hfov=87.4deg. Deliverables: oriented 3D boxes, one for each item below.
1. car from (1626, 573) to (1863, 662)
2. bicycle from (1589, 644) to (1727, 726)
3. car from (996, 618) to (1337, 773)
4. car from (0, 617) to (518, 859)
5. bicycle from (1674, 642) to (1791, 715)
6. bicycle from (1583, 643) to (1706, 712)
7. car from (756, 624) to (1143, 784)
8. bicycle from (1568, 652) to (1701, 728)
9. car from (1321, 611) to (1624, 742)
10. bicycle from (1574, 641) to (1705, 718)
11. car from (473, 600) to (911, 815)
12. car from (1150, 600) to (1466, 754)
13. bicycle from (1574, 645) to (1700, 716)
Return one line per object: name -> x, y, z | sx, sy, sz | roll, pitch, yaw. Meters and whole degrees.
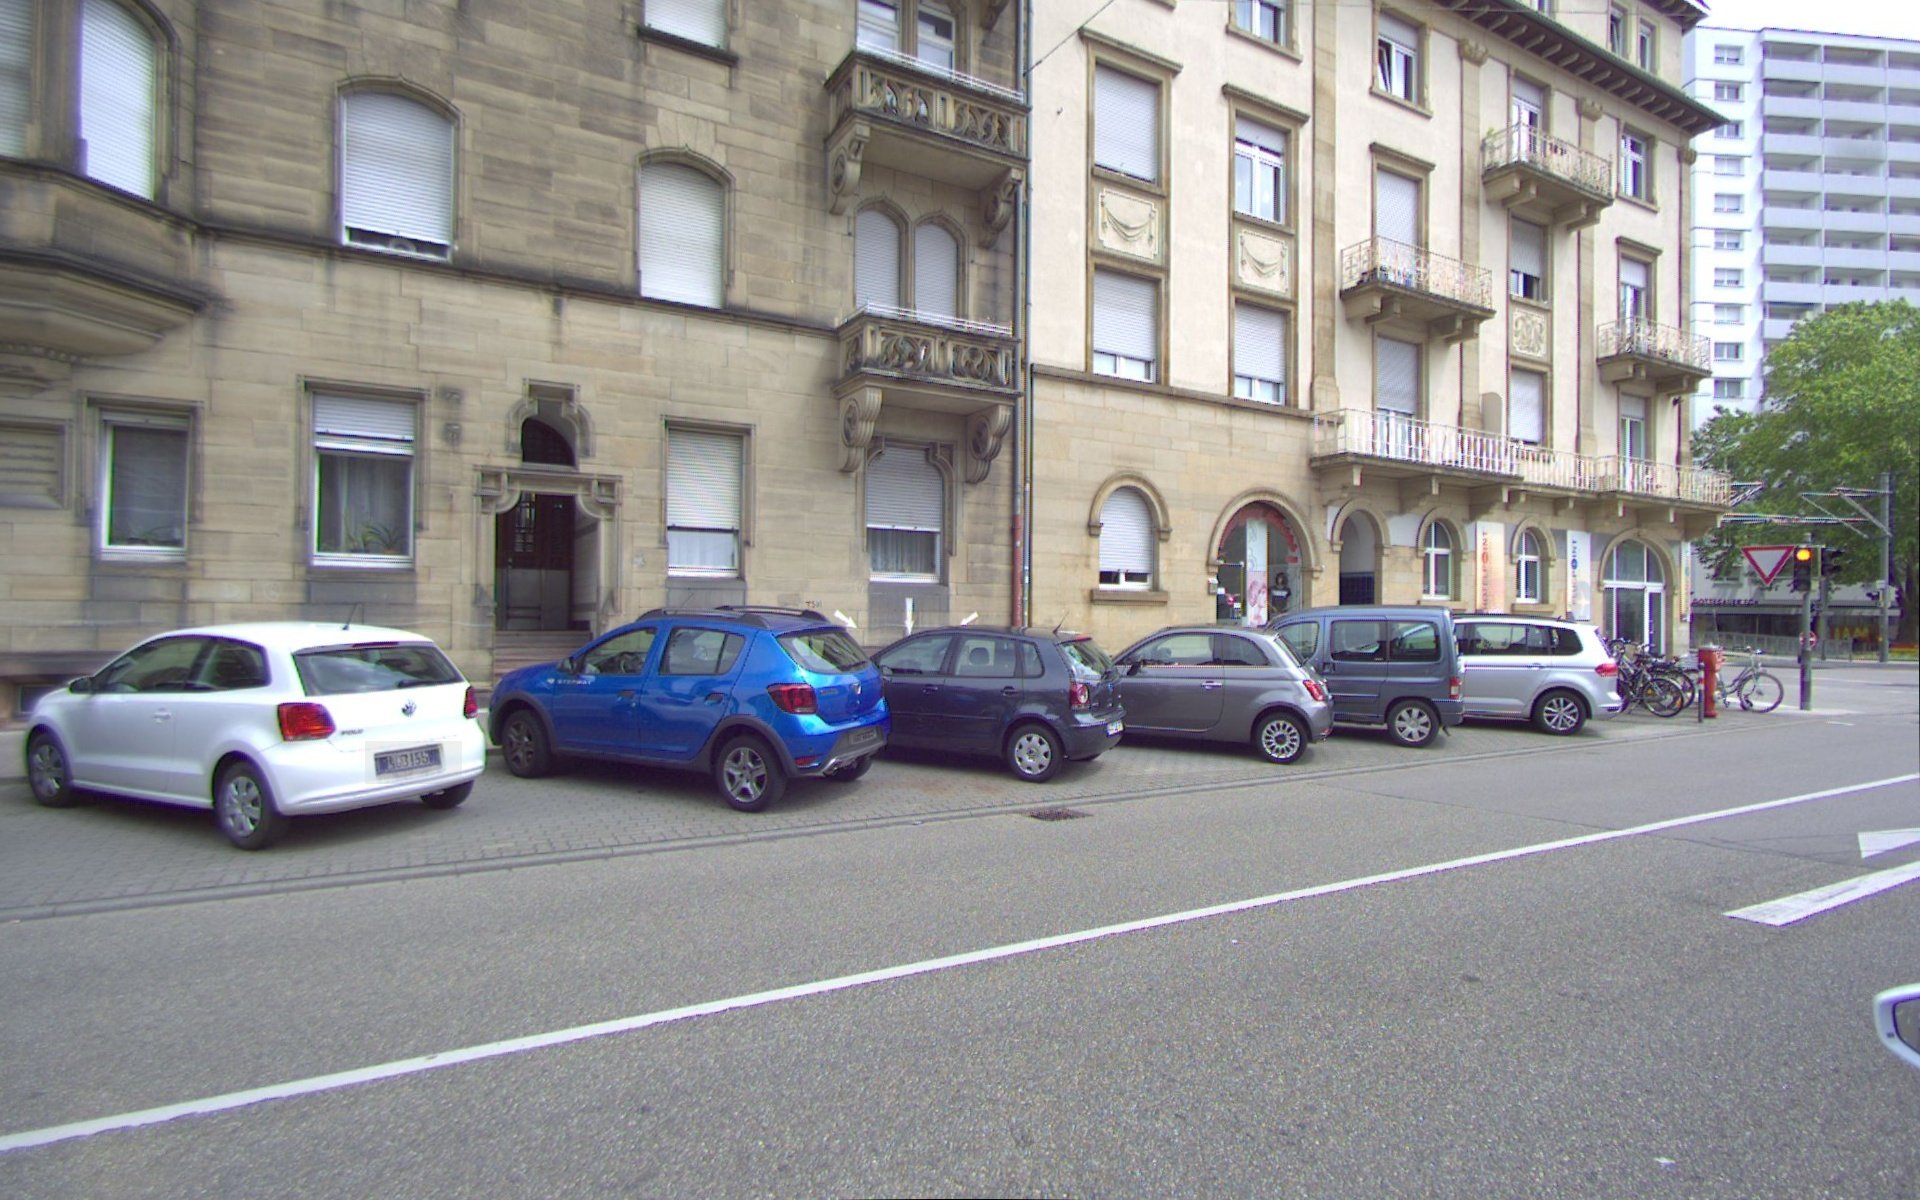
car -> 38.207, 0.929, 49.633 | 3.389, 3.967, 9.912 | 0, -2, -5
bicycle -> 11.663, 1.390, 16.857 | 0.586, 1.135, 1.803 | 1, 2, -25
car -> 2.606, 1.077, 12.579 | 3.934, 1.673, 1.796 | 0, -1, 22
car -> -5.470, 0.893, 7.841 | 3.616, 1.501, 1.741 | 0, -1, 25
bicycle -> 14.261, 1.420, 18.619 | 0.489, 1.182, 1.878 | 2, 1, -9
bicycle -> 12.844, 1.429, 18.903 | 0.588, 1.135, 1.796 | 1, 1, -37
car -> -0.112, 1.003, 10.998 | 3.830, 1.463, 1.836 | 0, -1, 25
bicycle -> 11.068, 1.441, 16.561 | 0.586, 1.135, 1.805 | 1, -1, -23
car -> 7.682, 1.086, 15.468 | 3.934, 1.797, 1.796 | 0, -1, 22
bicycle -> 11.989, 1.376, 17.777 | 0.588, 1.182, 1.796 | 1, 1, -37
car -> -2.502, 0.860, 9.390 | 3.706, 1.673, 1.723 | 0, -1, 24
car -> 4.790, 0.978, 14.044 | 3.934, 1.903, 1.796 | 0, -1, 22
bicycle -> 12.350, 1.444, 18.371 | 0.588, 1.135, 1.796 | 1, 1, -37
